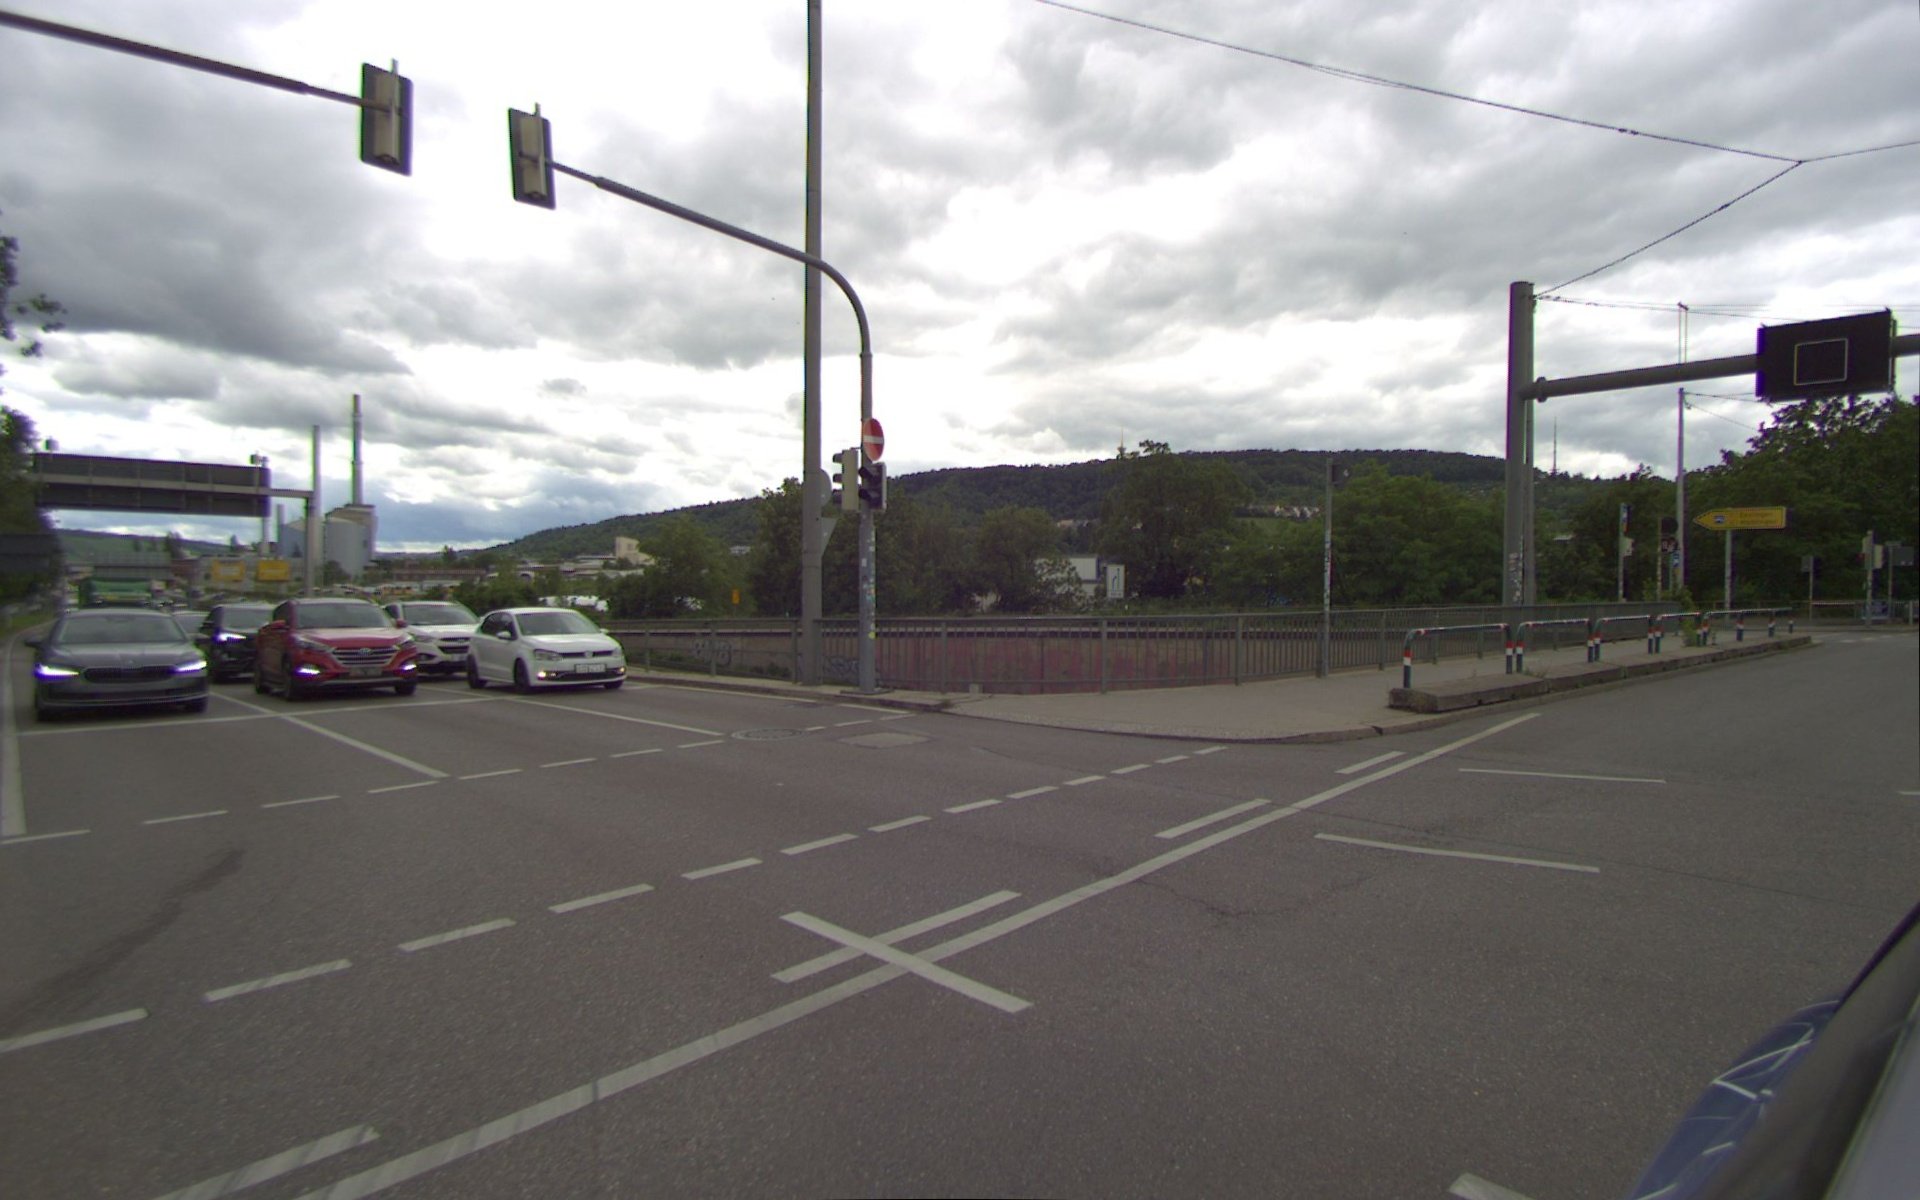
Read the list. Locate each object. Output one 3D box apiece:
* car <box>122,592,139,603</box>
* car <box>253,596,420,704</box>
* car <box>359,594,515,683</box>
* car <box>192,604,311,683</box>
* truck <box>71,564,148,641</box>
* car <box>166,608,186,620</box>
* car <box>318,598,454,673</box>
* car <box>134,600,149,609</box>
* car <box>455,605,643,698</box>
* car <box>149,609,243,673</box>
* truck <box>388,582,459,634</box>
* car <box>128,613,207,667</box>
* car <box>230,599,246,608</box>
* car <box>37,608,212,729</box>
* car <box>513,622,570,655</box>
[{"bbox_3d":[-138.248,-0.415,168.584,1.967,1.728,4.070,-2,1,-43],"label":"car"},{"bbox_3d":[-10.572,0.762,17.038,1.667,1.559,3.999,-2,0,-42],"label":"car"},{"bbox_3d":[-11.238,0.760,21.602,1.966,1.640,4.335,-2,0,-41],"label":"car"},{"bbox_3d":[-15.522,0.898,22.105,1.667,1.559,3.615,-1,0,-42],"label":"car"},{"bbox_3d":[-42.992,0.029,51.088,2.734,3.553,9.243,0,1,-41],"label":"truck"},{"bbox_3d":[-117.131,2.139,151.191,1.967,1.728,4.070,-2,1,-43],"label":"car"},{"bbox_3d":[-14.461,0.841,25.342,1.966,1.640,4.953,-2,0,-41],"label":"car"},{"bbox_3d":[-158.810,0.858,196.269,1.967,1.728,4.070,-2,1,-43],"label":"car"},{"bbox_3d":[-7.078,0.806,17.236,1.761,1.329,3.756,-2,1,-42],"label":"car"},{"bbox_3d":[-20.479,1.053,27.077,1.667,1.559,3.751,-1,0,-42],"label":"car"},{"bbox_3d":[-56.876,0.710,107.026,3.527,4.540,13.161,0,3,-42],"label":"truck"},{"bbox_3d":[-24.813,1.209,31.638,1.667,1.559,3.751,-1,0,-42],"label":"car"},{"bbox_3d":[-152.259,0.675,213.415,3.984,1.758,1.968,-1,1,45],"label":"car"},{"bbox_3d":[-12.078,0.877,14.532,1.668,1.438,4.143,-2,0,-43],"label":"car"},{"bbox_3d":[-37.596,3.385,90.828,2.869,2.530,7.271,-2,1,-38],"label":"car"}]
